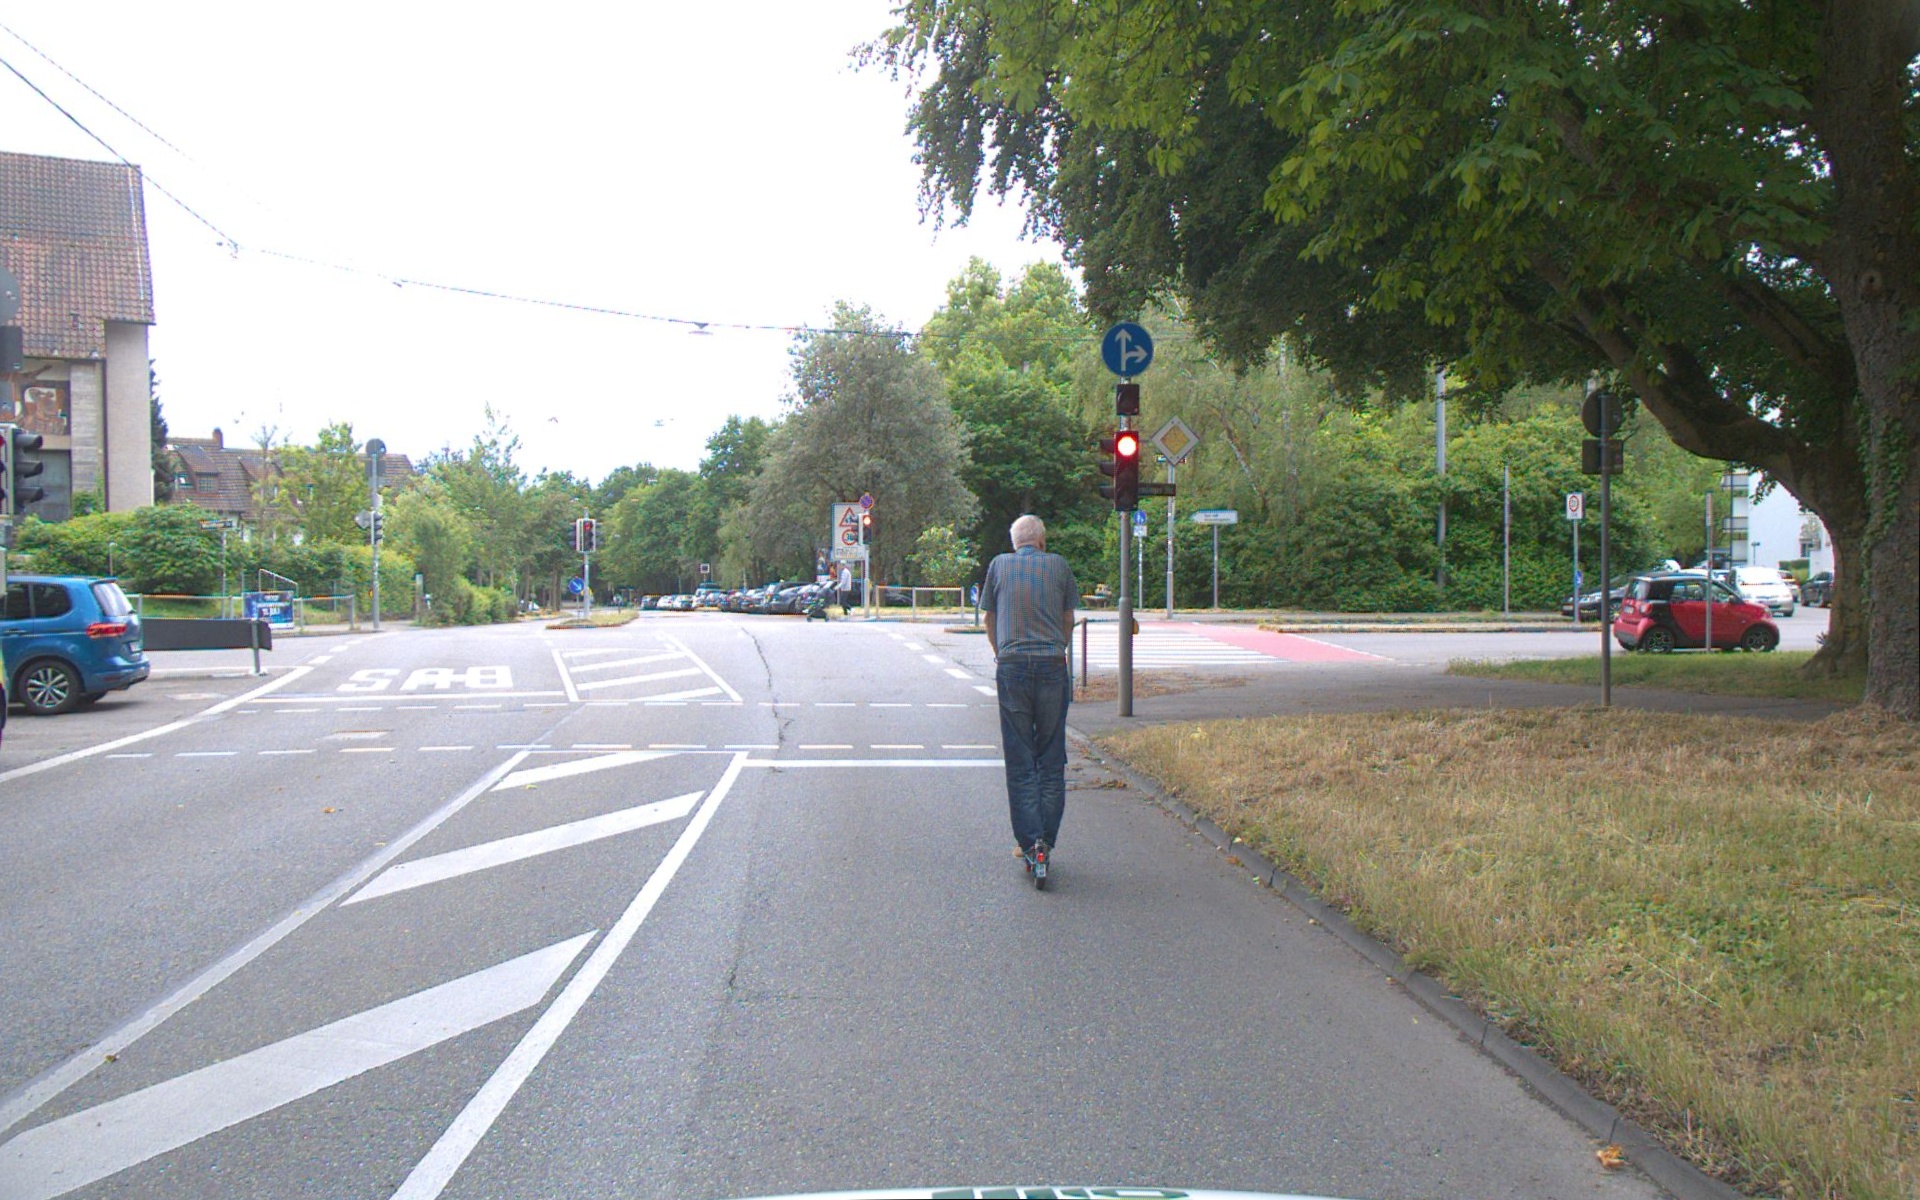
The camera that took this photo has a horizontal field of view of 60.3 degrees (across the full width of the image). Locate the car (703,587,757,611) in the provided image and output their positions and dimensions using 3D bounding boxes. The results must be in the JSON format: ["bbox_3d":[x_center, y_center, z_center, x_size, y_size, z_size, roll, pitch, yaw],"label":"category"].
[{"bbox_3d":[-17.712,-0.083,127.427,3.792,1.639,1.715,-2,1,-25],"label":"car"}]

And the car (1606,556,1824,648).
[{"bbox_3d":[14.628,0.027,32.191,3.444,1.639,1.729,-2,1,3],"label":"car"}]

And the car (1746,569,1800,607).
[{"bbox_3d":[37.687,-0.578,76.759,1.686,1.639,3.856,-1,1,18],"label":"car"}]

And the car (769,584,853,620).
[{"bbox_3d":[-7.432,0.076,82.624,3.794,1.639,1.714,-2,1,-26],"label":"car"}]

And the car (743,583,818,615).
[{"bbox_3d":[-10.035,-0.043,92.430,3.792,1.639,1.715,-2,1,-25],"label":"car"}]

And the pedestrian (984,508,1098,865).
[{"bbox_3d":[0.425,0.448,8.803,0.561,1.845,0.420,-1,0,0],"label":"pedestrian"}]

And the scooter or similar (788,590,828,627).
[{"bbox_3d":[-4.576,0.244,49.902,1.090,1.100,0.574,-1,0,-18],"label":"scooter or similar"}]

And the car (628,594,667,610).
[{"bbox_3d":[-34.137,0.245,180.679,3.792,1.639,1.715,-2,1,-25],"label":"car"}]

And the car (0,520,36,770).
[{"bbox_3d":[-8.548,0.403,11.818,1.848,2.049,4.557,-1,1,-8],"label":"car"}]

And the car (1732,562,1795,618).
[{"bbox_3d":[25.433,-0.335,52.368,1.689,1.639,3.851,-1,1,26],"label":"car"}]

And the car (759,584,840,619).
[{"bbox_3d":[-8.269,0.062,85.138,3.792,1.639,1.715,-2,1,-25],"label":"car"}]

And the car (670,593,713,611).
[{"bbox_3d":[-25.886,0.205,159.339,3.792,1.639,1.715,-2,1,-25],"label":"car"}]

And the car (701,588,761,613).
[{"bbox_3d":[-15.833,0.035,114.518,3.792,1.639,1.715,-2,1,-25],"label":"car"}]

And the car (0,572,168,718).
[{"bbox_3d":[-11.781,0.546,19.726,3.924,1.639,1.810,-2,1,-17],"label":"car"}]

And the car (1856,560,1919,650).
[{"bbox_3d":[18.956,0.046,30.881,3.764,1.639,1.727,-1,1,24],"label":"car"}]

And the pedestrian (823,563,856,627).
[{"bbox_3d":[-3.646,-0.156,50.202,0.870,1.895,0.571,-1,0,-18],"label":"pedestrian"}]

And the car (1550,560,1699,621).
[{"bbox_3d":[18.295,-0.266,45.659,3.444,1.557,1.729,-2,1,4],"label":"car"}]

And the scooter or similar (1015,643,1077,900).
[{"bbox_3d":[0.437,0.846,8.595,0.276,1.199,1.177,-1,1,2],"label":"scooter or similar"}]

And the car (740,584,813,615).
[{"bbox_3d":[-10.515,-0.053,94.827,3.792,1.639,1.715,-2,1,-25],"label":"car"}]

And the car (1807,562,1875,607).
[{"bbox_3d":[34.647,-0.630,65.155,1.686,1.639,3.856,-1,1,18],"label":"car"}]

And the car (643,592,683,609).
[{"bbox_3d":[-30.717,0.047,170.951,3.792,1.639,1.715,-2,1,-25],"label":"car"}]
